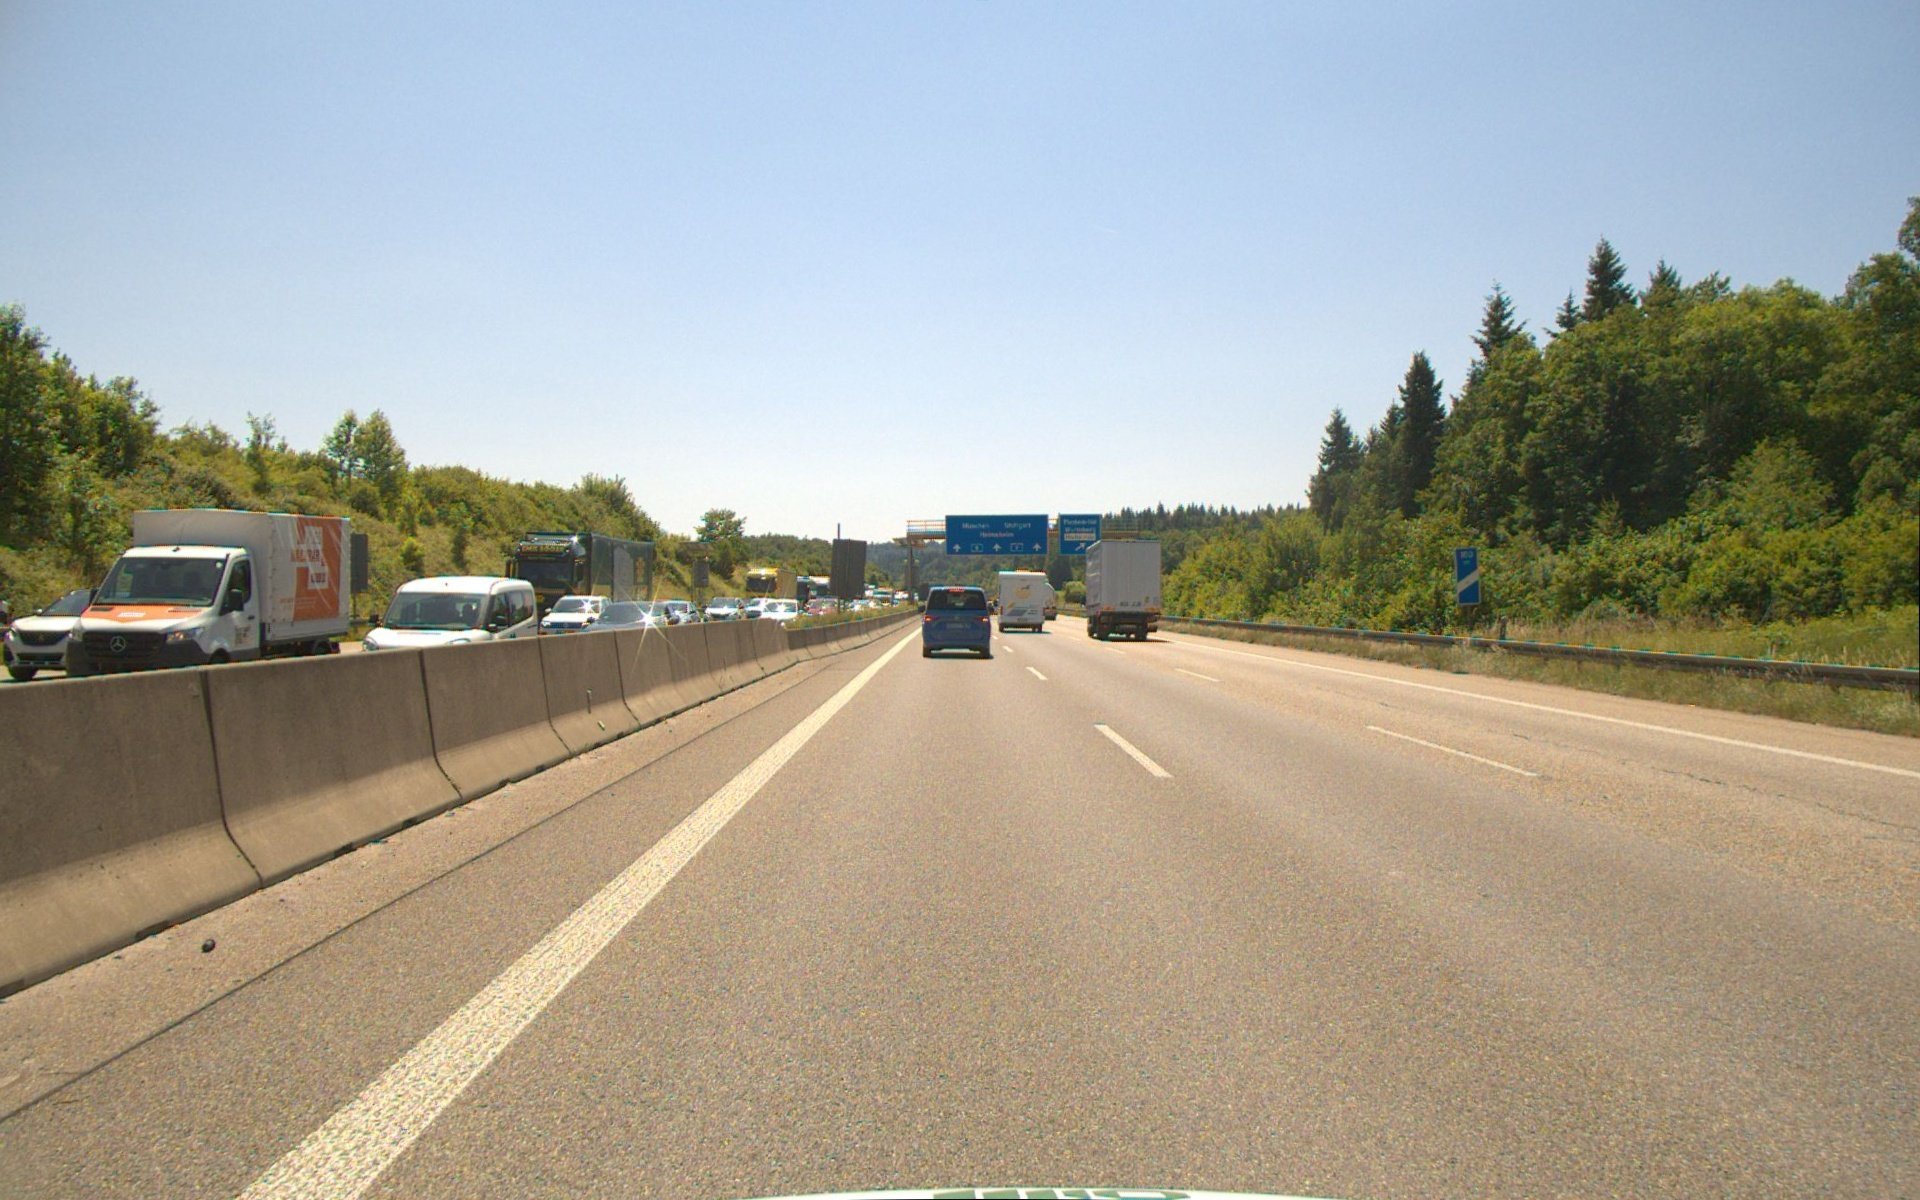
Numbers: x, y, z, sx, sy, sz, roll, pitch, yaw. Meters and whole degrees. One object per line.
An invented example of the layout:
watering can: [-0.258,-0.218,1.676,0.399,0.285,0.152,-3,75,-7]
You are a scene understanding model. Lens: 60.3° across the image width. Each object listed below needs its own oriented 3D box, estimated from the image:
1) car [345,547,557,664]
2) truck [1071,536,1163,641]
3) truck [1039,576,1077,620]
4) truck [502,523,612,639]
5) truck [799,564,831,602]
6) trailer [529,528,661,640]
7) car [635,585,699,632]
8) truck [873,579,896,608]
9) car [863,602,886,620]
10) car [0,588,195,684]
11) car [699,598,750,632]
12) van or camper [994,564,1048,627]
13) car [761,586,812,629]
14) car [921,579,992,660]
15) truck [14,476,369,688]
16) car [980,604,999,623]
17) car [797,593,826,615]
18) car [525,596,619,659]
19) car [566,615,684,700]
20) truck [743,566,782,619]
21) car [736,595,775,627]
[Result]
car: [-7.734,0.105,25.663,1.791,1.592,5.109,1,-1,-2]
truck: [6.688,-0.415,71.759,2.727,4.201,9.736,1,-1,-2]
truck: [8.505,-0.210,144.082,2.867,3.637,8.527,-1,1,1]
truck: [-15.561,-0.686,64.306,2.761,4.277,5.629,1,-1,0]
truck: [-16.191,-1.870,185.130,2.723,4.186,7.031,0,-1,2]
trailer: [-15.540,-0.564,71.562,2.784,4.336,12.785,1,-1,0]
car: [-11.826,0.347,66.953,1.791,1.795,4.989,1,-1,-2]
truck: [-7.990,-0.671,175.069,2.076,2.891,6.212,1,-1,0]
car: [-7.714,0.993,149.636,1.774,1.539,5.030,1,-1,0]
car: [-16.018,0.642,30.620,1.698,1.615,4.368,1,-1,-1]
car: [-11.803,0.754,83.117,1.774,1.657,5.219,1,-1,0]
van or camper: [3.112,-0.279,85.917,2.550,3.132,7.182,1,1,0]
car: [-7.574,0.358,72.652,1.791,1.795,4.989,1,-1,-2]
car: [-0.106,0.499,46.021,1.870,2.048,4.000,0,2,-1]
truck: [-11.868,-0.221,26.339,2.516,2.895,6.751,1,-1,-1]
car: [2.957,1.382,166.472,1.780,1.825,3.894,1,-1,0]
car: [-12.560,0.381,140.312,1.824,1.783,5.901,1,-1,0]
car: [-11.833,0.829,50.694,1.791,1.795,4.989,1,-1,-2]
car: [-7.573,1.258,37.828,1.791,1.795,4.989,1,-1,-2]
truck: [-16.079,-0.559,135.189,2.549,4.136,6.131,1,-1,-2]
car: [-12.118,0.666,98.339,1.791,1.795,4.989,1,-1,-2]
